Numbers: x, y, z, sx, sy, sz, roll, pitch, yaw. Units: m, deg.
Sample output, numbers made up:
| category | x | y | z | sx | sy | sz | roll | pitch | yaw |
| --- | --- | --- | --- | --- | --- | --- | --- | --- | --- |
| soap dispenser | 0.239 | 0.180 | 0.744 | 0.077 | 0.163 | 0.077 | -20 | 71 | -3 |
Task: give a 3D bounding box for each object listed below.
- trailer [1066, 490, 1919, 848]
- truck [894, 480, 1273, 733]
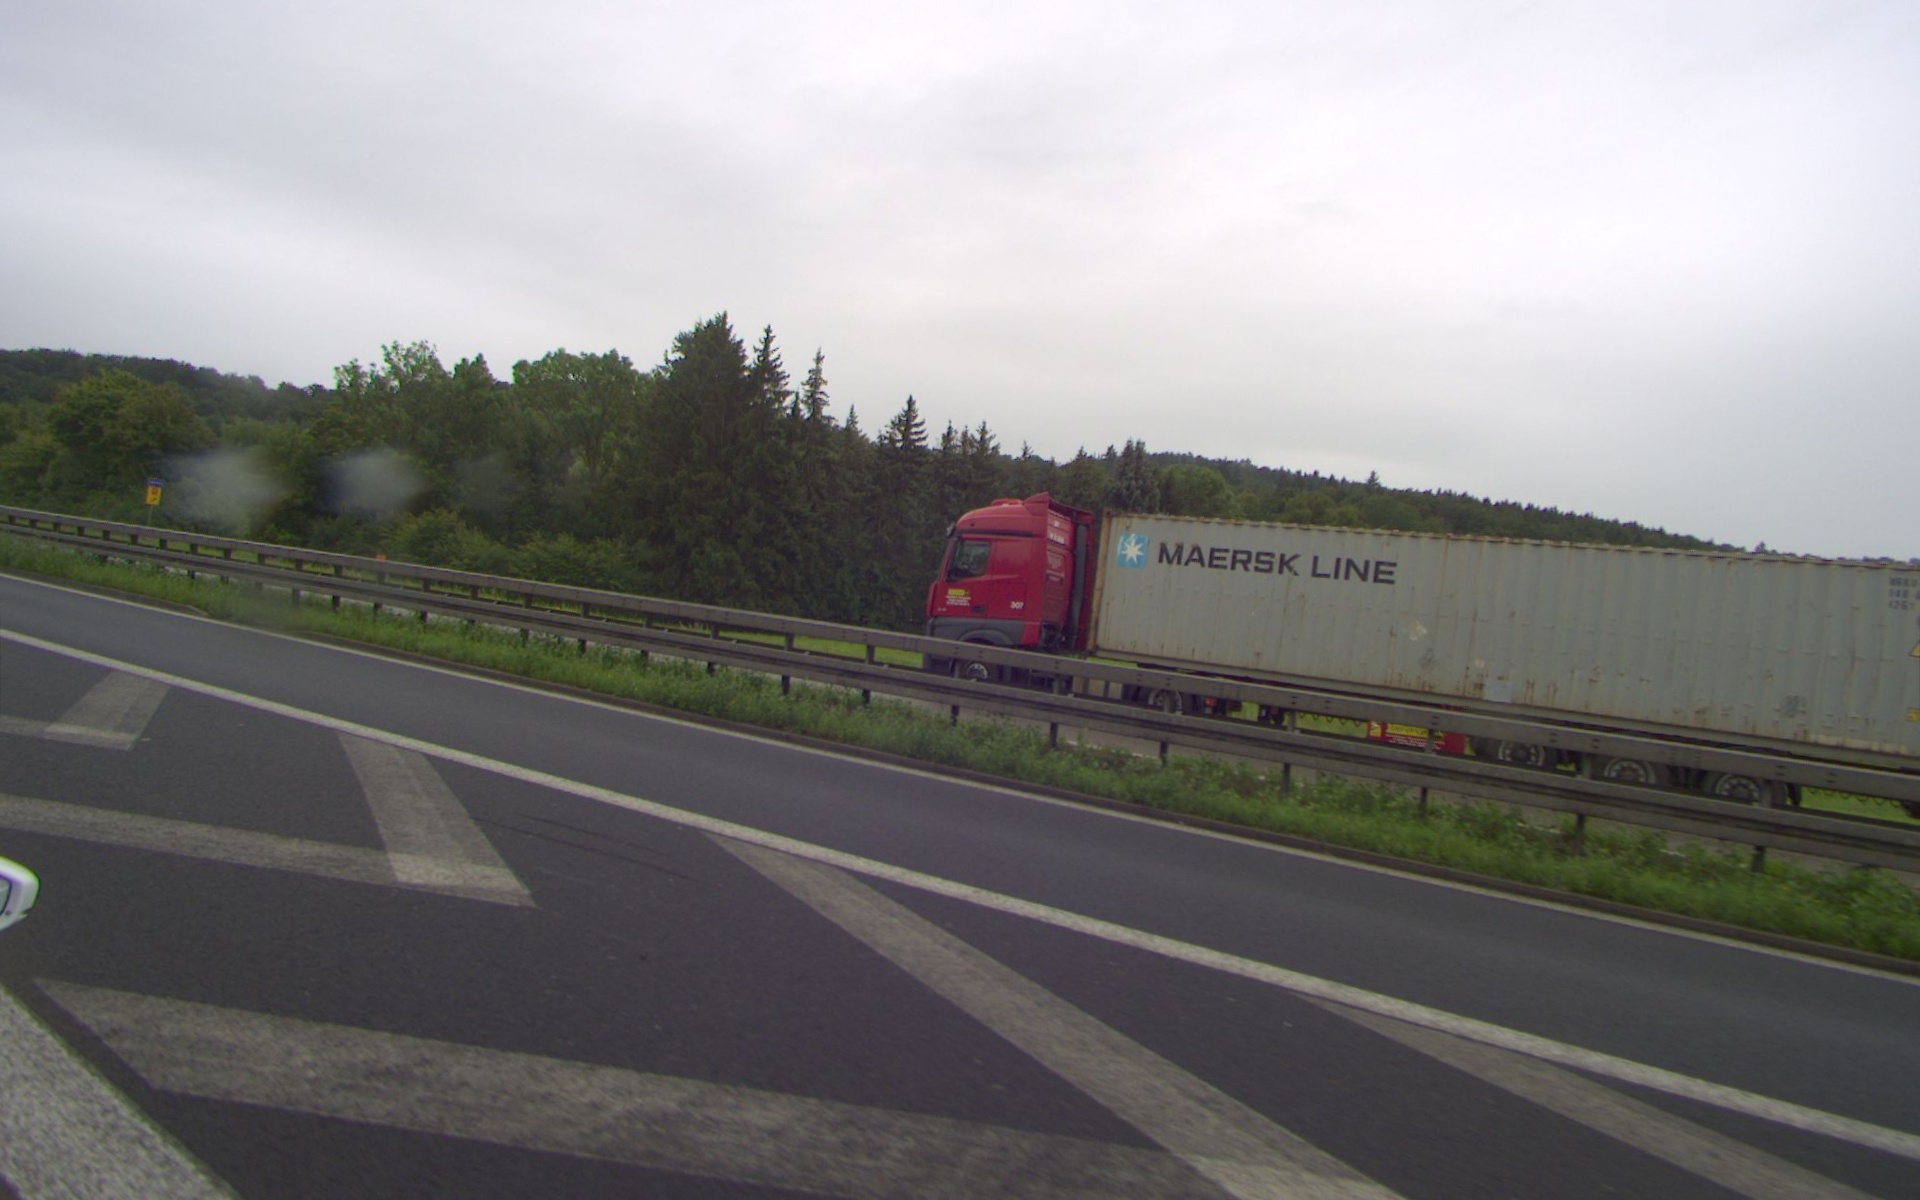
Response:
| category | x | y | z | sx | sy | sz | roll | pitch | yaw |
| --- | --- | --- | --- | --- | --- | --- | --- | --- | --- |
| trailer | 8.118 | 0.735 | 16.211 | 12.272 | 3.939 | 2.611 | 7 | -1 | 27 |
| truck | 2.317 | 0.058 | 19.255 | 6.280 | 3.930 | 2.623 | 7 | -1 | 27 |
